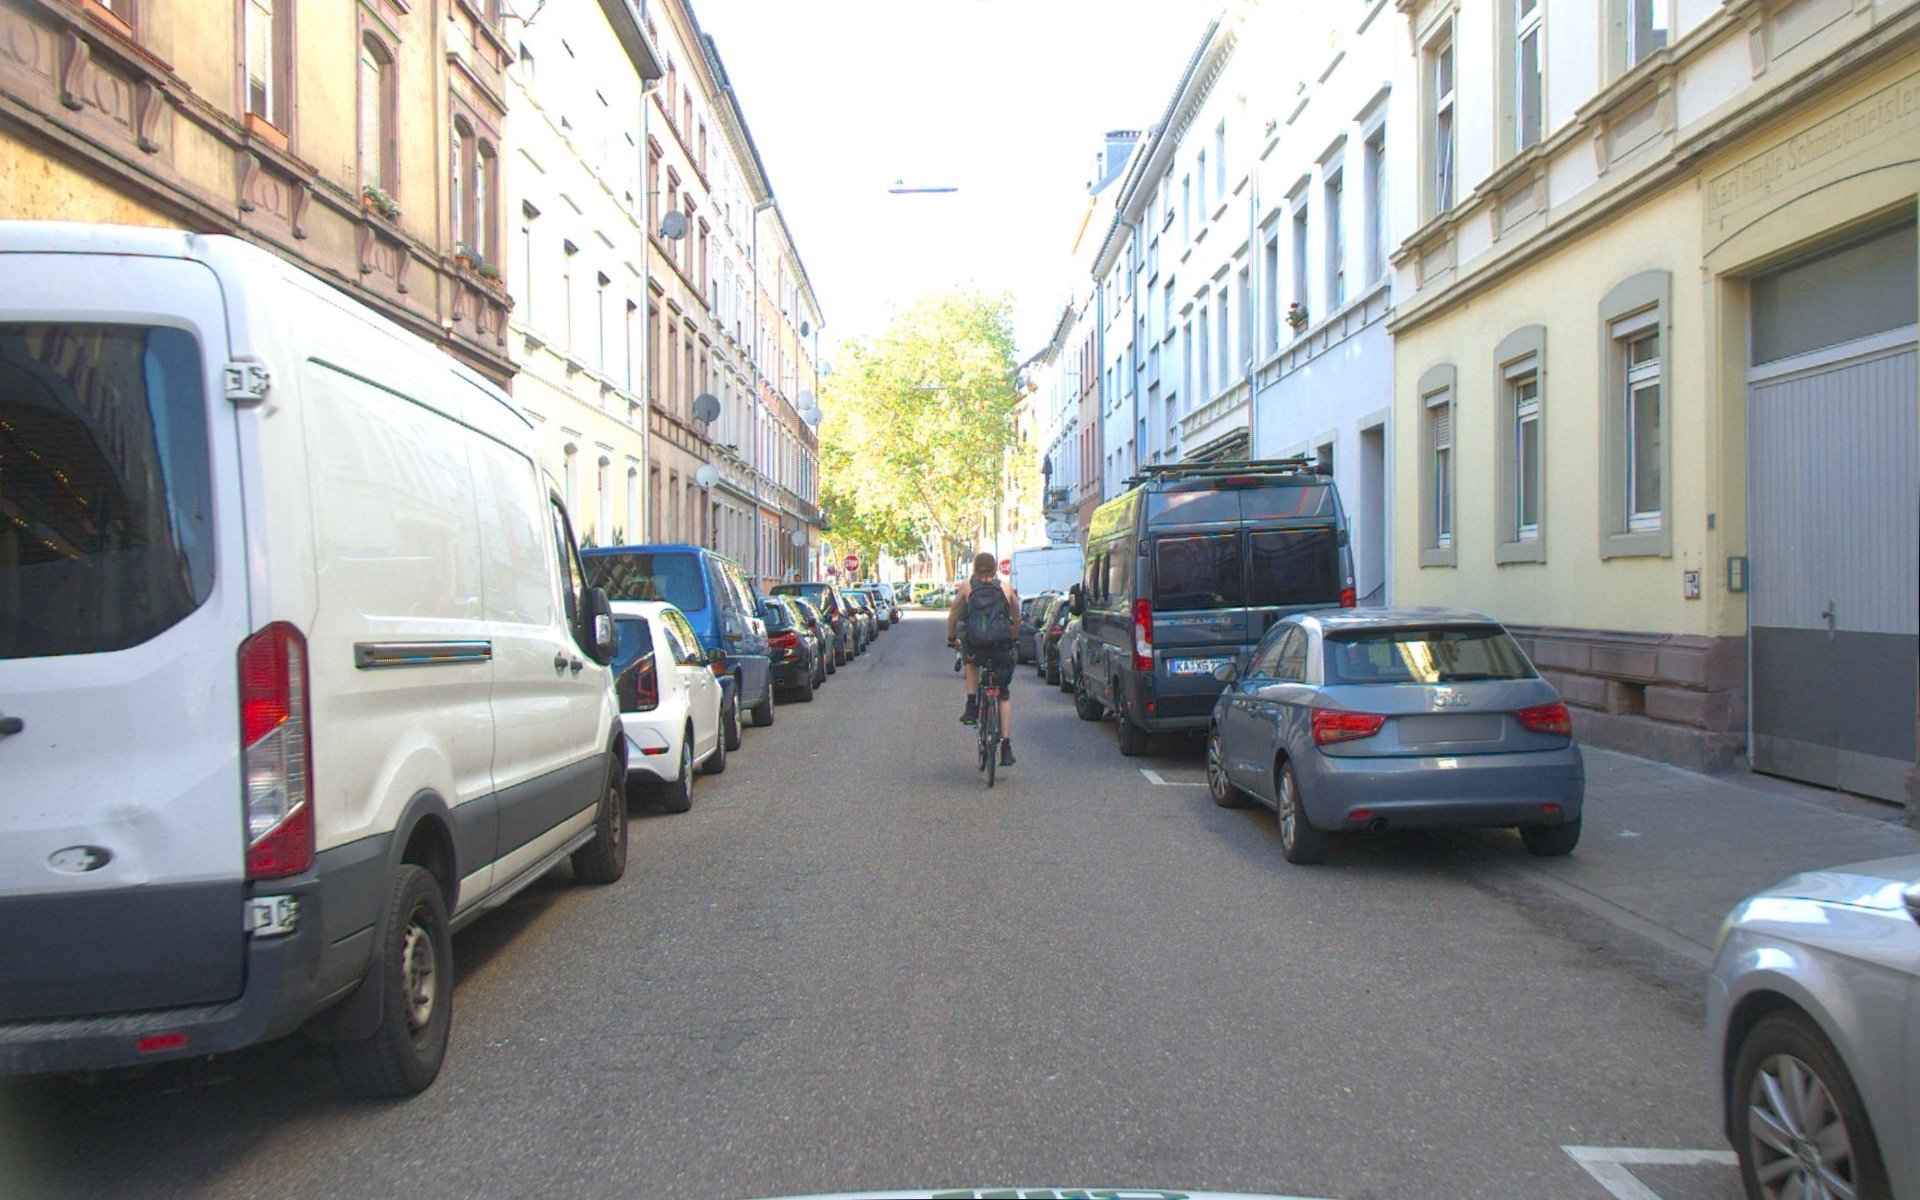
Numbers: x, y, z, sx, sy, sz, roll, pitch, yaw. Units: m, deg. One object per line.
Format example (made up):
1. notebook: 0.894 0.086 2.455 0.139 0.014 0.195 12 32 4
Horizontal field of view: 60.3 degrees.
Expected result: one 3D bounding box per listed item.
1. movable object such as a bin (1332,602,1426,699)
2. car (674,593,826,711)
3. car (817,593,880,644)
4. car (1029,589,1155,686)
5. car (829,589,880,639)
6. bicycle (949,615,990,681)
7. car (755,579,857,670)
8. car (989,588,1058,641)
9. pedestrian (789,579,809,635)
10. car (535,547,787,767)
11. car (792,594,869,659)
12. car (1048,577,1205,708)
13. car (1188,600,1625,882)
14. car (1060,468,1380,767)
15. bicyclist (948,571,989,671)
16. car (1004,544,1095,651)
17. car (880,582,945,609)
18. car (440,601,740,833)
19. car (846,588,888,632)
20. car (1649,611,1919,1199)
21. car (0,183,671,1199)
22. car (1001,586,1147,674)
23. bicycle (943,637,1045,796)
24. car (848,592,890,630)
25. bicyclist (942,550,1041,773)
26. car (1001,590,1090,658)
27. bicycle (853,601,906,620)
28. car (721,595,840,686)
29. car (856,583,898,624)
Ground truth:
1. movable object such as a bin: 4.950 0.586 19.583 0.846 1.060 0.707 -4 1 -3
2. car: -2.975 0.672 24.263 1.825 1.465 4.643 -1 1 -3
3. car: -3.351 0.534 50.292 1.671 1.438 4.301 -1 0 -1
4. car: 2.195 0.583 28.498 1.711 1.511 4.242 -1 0 -1
5. car: -3.486 0.443 55.249 1.573 1.556 3.377 -2 0 -3
6. bicycle: 0.145 0.803 28.628 0.650 1.055 1.958 -1 0 -1
7. car: -3.226 0.486 35.279 1.764 1.727 3.999 -3 0 -1
8. car: 1.885 0.402 50.301 1.697 1.496 4.018 -1 0 -4
9. pedestrian: -5.527 0.248 56.924 0.598 1.890 0.754 1 0 -2
10. car: -3.002 0.503 17.568 1.790 1.924 4.613 -3 0 -1
11. car: -3.113 0.614 40.261 1.559 1.465 3.653 -1 0 0
12. car: 2.292 0.536 23.749 1.659 1.636 4.374 -3 0 -1
13. car: 2.686 0.754 10.955 1.712 1.469 4.171 0 0 -1
14. car: 2.416 0.125 17.271 2.131 2.467 6.308 -2 0 -1
15. bicyclist: 0.139 0.351 28.573 0.656 1.687 0.877 -1 0 -1
16. car: 2.276 -0.081 43.777 2.159 2.595 6.037 -1 0 1
17. car: -3.313 -0.305 114.154 4.382 1.790 1.864 -1 0 -5
18. car: -2.726 0.780 12.979 1.612 1.472 3.838 -1 0 -3
19. car: -3.529 0.370 62.624 1.514 1.577 3.462 -1 0 -4
20. car: 2.766 0.774 2.058 1.750 1.479 4.546 -4 0 -2
21. car: -2.727 0.256 6.922 2.124 2.494 5.919 -2 0 -2
22. car: 2.204 0.532 33.282 1.779 1.503 4.597 -4 1 -10
23. bicycle: 0.247 0.891 13.367 0.725 1.120 2.041 1 0 -1
24. car: -3.624 0.412 66.387 1.521 1.424 3.667 -1 0 -1
25. bicyclist: 0.237 0.468 13.297 0.725 1.708 1.116 1 0 -1
26. car: 1.930 0.515 38.329 1.690 1.454 3.831 -1 0 -2
27. bicycle: -4.122 0.530 84.299 2.662 0.907 0.618 -1 0 -4
28. car: -3.106 0.664 29.322 1.701 1.452 3.999 -1 0 -1
29. car: -3.712 0.143 74.823 1.751 1.767 3.875 -1 0 -1
